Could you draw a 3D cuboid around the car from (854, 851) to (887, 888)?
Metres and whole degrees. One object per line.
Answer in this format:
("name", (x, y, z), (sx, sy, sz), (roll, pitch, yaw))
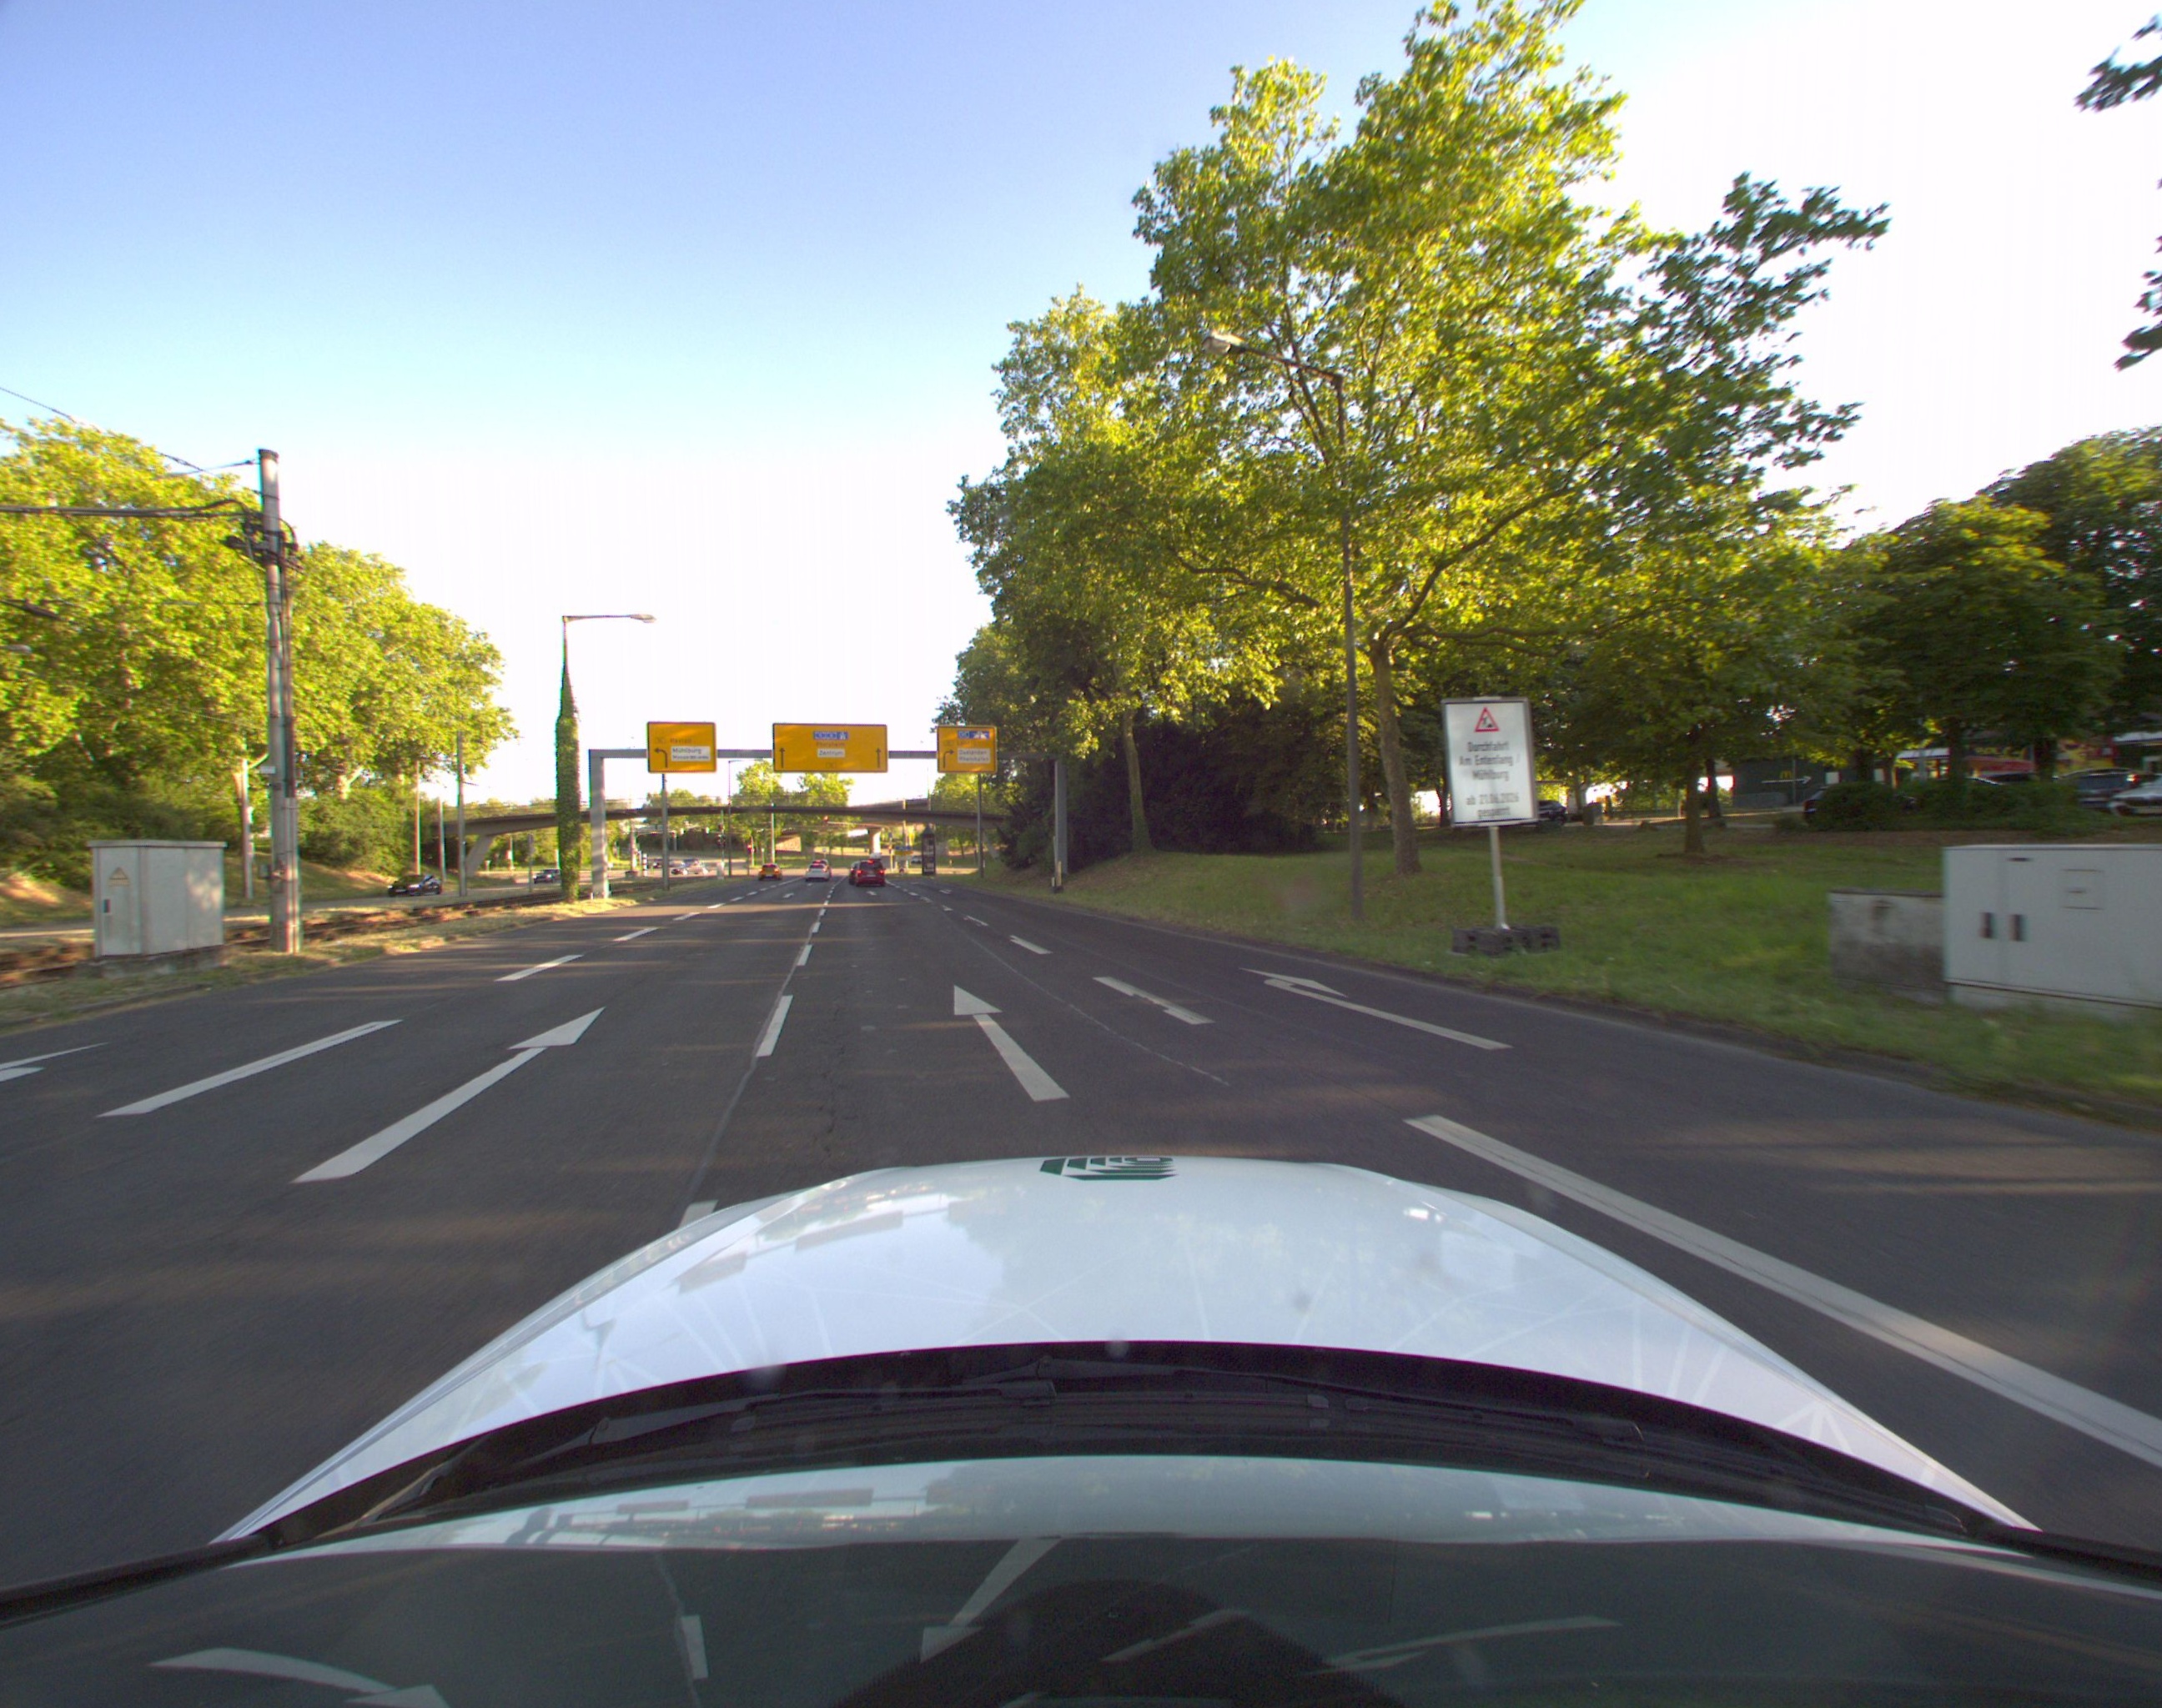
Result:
("car", (-13.128, 0.929, 50.710), (1.796, 2.105, 3.978), (-3, 1, -16))

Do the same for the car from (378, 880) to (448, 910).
("car", (-44.329, 2.684, 54.168), (1.997, 1.681, 4.169), (-3, 0, -15))

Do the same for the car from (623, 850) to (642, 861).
("car", (-70.308, 0.205, 127.694), (1.883, 1.772, 3.977), (0, 0, -17))

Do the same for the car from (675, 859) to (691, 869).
("car", (-66.238, 1.671, 135.690), (1.883, 1.575, 3.653), (0, 0, -17))

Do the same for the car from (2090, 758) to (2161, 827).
("car", (29.856, -1.706, 21.518), (4.886, 1.706, 1.992), (-3, 1, -12))

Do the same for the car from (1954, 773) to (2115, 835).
("car", (29.346, -1.543, 25.074), (4.225, 1.687, 1.816), (-3, 0, -20))

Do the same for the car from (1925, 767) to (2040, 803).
("car", (49.099, -3.725, 44.414), (1.815, 1.552, 3.958), (-3, 0, -34))

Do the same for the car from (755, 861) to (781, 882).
("car", (-26.348, 1.434, 68.665), (1.666, 1.565, 3.978), (-3, 1, -16))

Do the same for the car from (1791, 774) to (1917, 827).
("car", (27.605, -1.913, 29.072), (4.232, 1.687, 1.813), (-3, 0, -25))

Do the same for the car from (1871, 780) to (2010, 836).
("car", (28.865, -1.542, 27.356), (4.230, 1.687, 1.814), (-3, 0, -23))

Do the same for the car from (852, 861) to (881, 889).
("car", (-14.976, 1.416, 56.685), (1.796, 1.749, 4.218), (-3, 1, -16))

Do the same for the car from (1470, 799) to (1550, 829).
("car", (26.562, -2.467, 50.510), (3.976, 1.552, 1.807), (-3, 0, -2))

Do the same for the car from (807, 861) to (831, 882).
("car", (-21.522, 1.386, 66.947), (1.666, 1.565, 4.168), (-3, 1, -16))

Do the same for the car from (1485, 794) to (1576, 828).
("car", (24.040, -2.295, 43.588), (3.988, 1.552, 1.801), (-3, 0, -11))

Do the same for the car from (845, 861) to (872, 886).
("car", (-16.988, 1.441, 62.127), (1.796, 1.749, 3.978), (-3, 1, -16))
